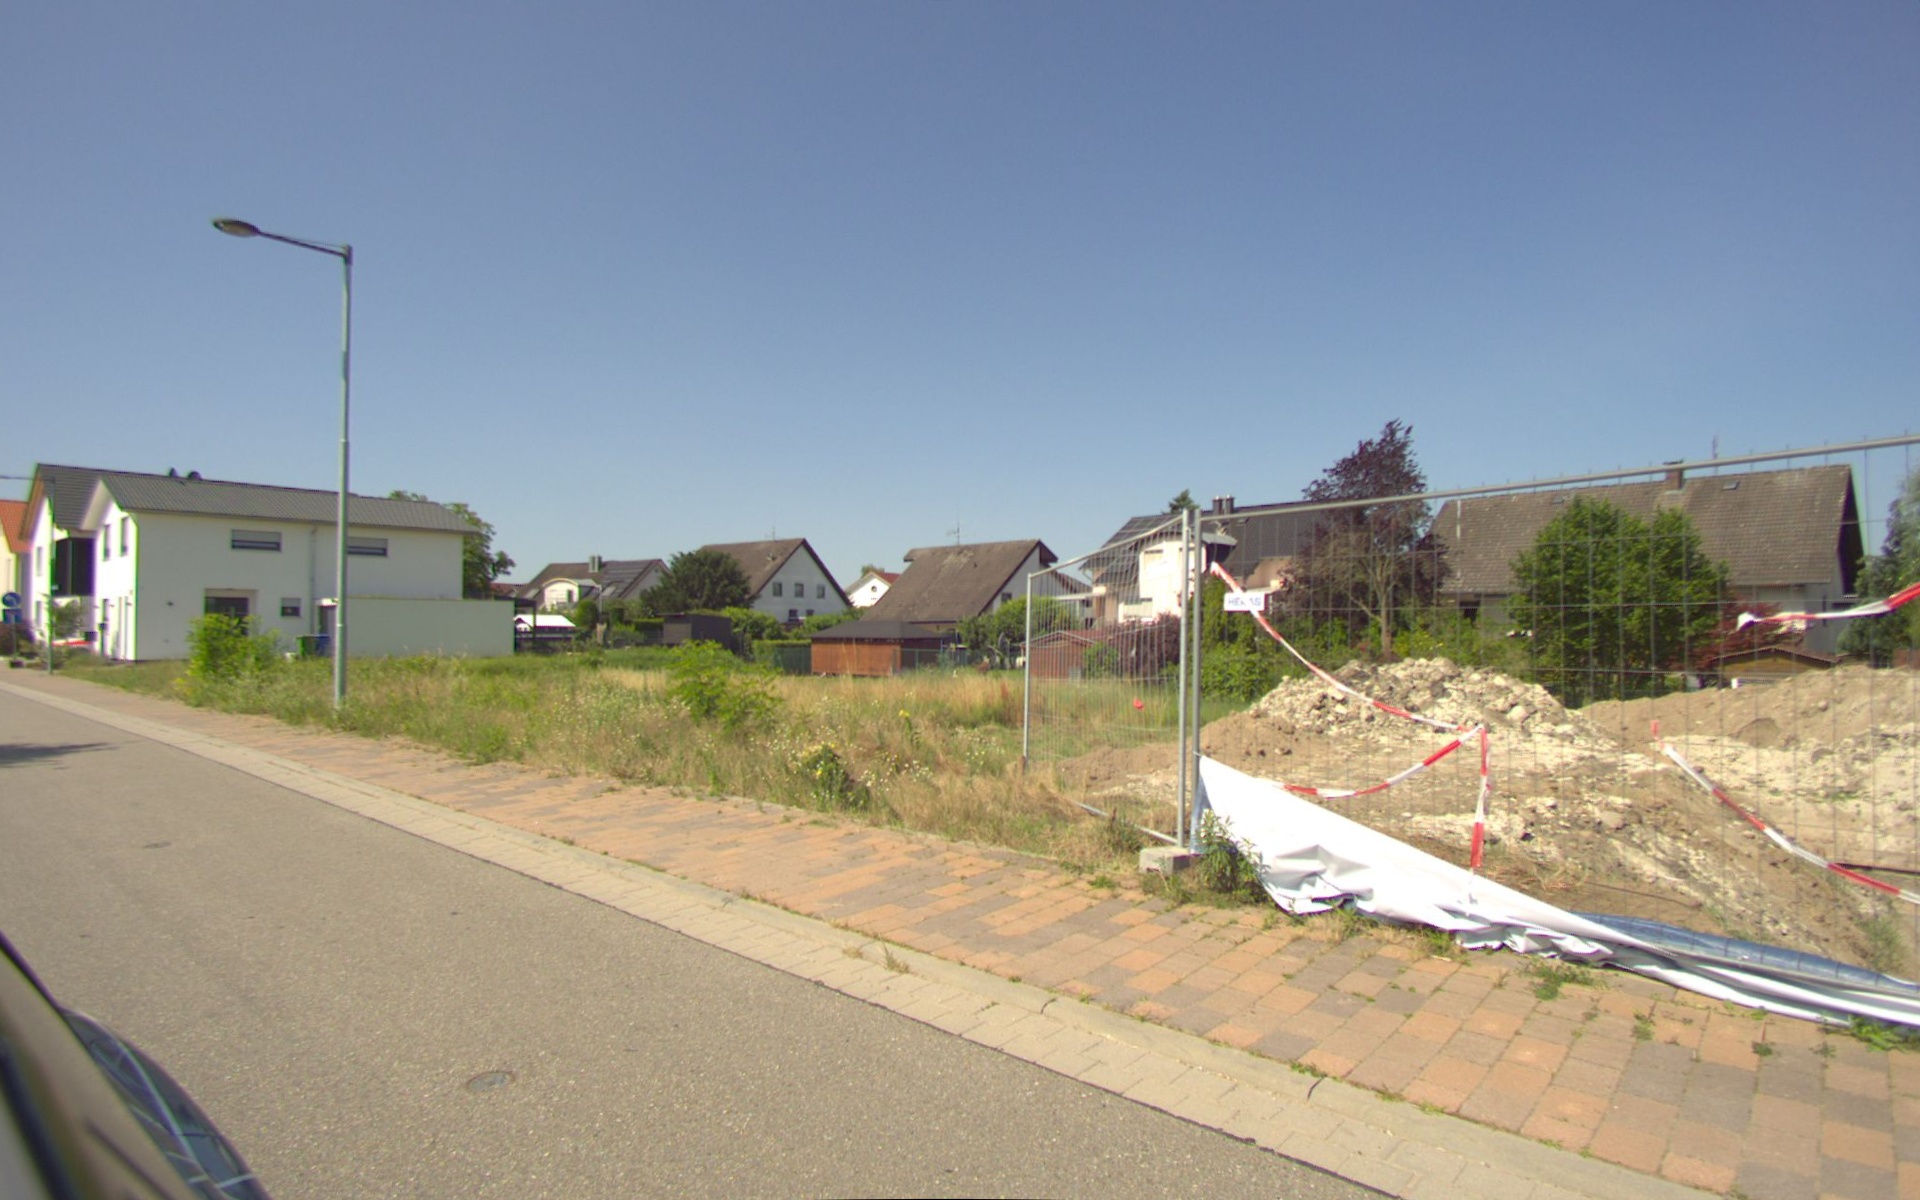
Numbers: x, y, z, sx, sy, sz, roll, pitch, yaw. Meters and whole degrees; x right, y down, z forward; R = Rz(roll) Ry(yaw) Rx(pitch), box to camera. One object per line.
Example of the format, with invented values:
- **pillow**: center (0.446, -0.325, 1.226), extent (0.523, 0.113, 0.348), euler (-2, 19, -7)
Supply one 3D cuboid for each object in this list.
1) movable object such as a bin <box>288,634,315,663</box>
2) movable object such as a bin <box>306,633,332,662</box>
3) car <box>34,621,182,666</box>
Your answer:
- **movable object such as a bin**: center (-25.324, 1.850, 38.934), extent (0.784, 1.107, 0.653), euler (-2, -3, 41)
- **movable object such as a bin**: center (-25.009, 1.861, 39.484), extent (0.808, 1.107, 0.662), euler (-2, -3, 43)
- **car**: center (-37.550, 1.883, 44.706), extent (1.936, 1.889, 4.689), euler (-1, -2, 39)
